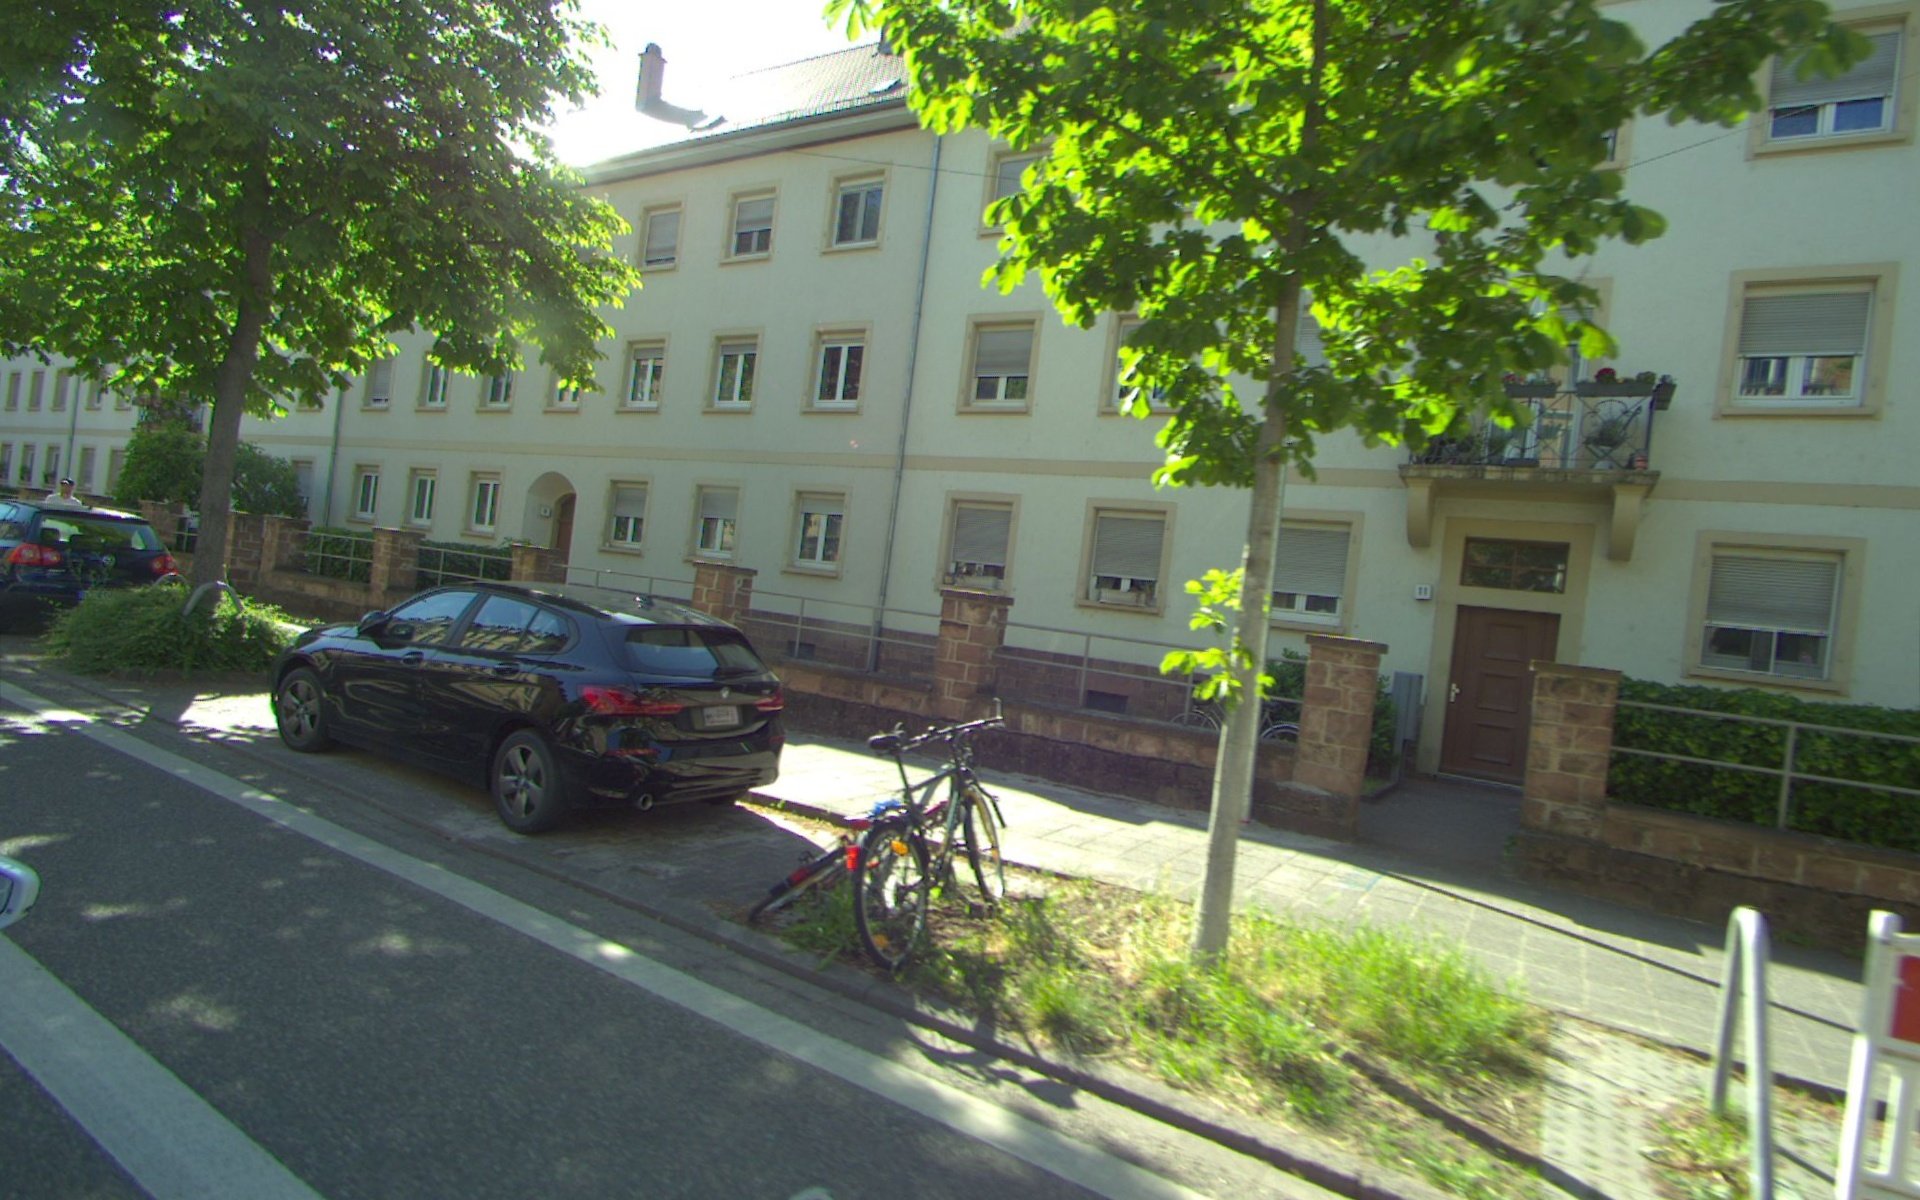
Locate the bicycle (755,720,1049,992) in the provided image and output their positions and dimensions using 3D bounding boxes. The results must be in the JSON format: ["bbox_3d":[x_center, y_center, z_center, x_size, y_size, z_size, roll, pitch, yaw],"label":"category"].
[{"bbox_3d":[-0.202,1.202,5.130,0.426,1.090,1.765,7,-3,32],"label":"bicycle"}]

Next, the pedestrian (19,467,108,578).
[{"bbox_3d":[-15.479,-1.326,17.386,0.896,1.794,0.600,6,2,1],"label":"pedestrian"}]

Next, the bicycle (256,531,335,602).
[{"bbox_3d":[-13.256,-0.670,20.056,1.712,1.235,0.543,7,1,32],"label":"bicycle"}]

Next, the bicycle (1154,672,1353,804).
[{"bbox_3d":[3.096,1.423,10.697,1.840,1.066,0.560,7,0,32],"label":"bicycle"}]

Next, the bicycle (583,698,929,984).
[{"bbox_3d":[-0.883,1.078,4.899,0.426,1.090,1.765,7,-3,32],"label":"bicycle"}]

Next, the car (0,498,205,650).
[{"bbox_3d":[-11.230,-0.420,12.217,4.174,1.492,1.722,7,0,30],"label":"car"}]

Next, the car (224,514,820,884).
[{"bbox_3d":[-3.253,0.519,7.240,4.160,1.782,1.669,7,-1,31],"label":"car"}]
